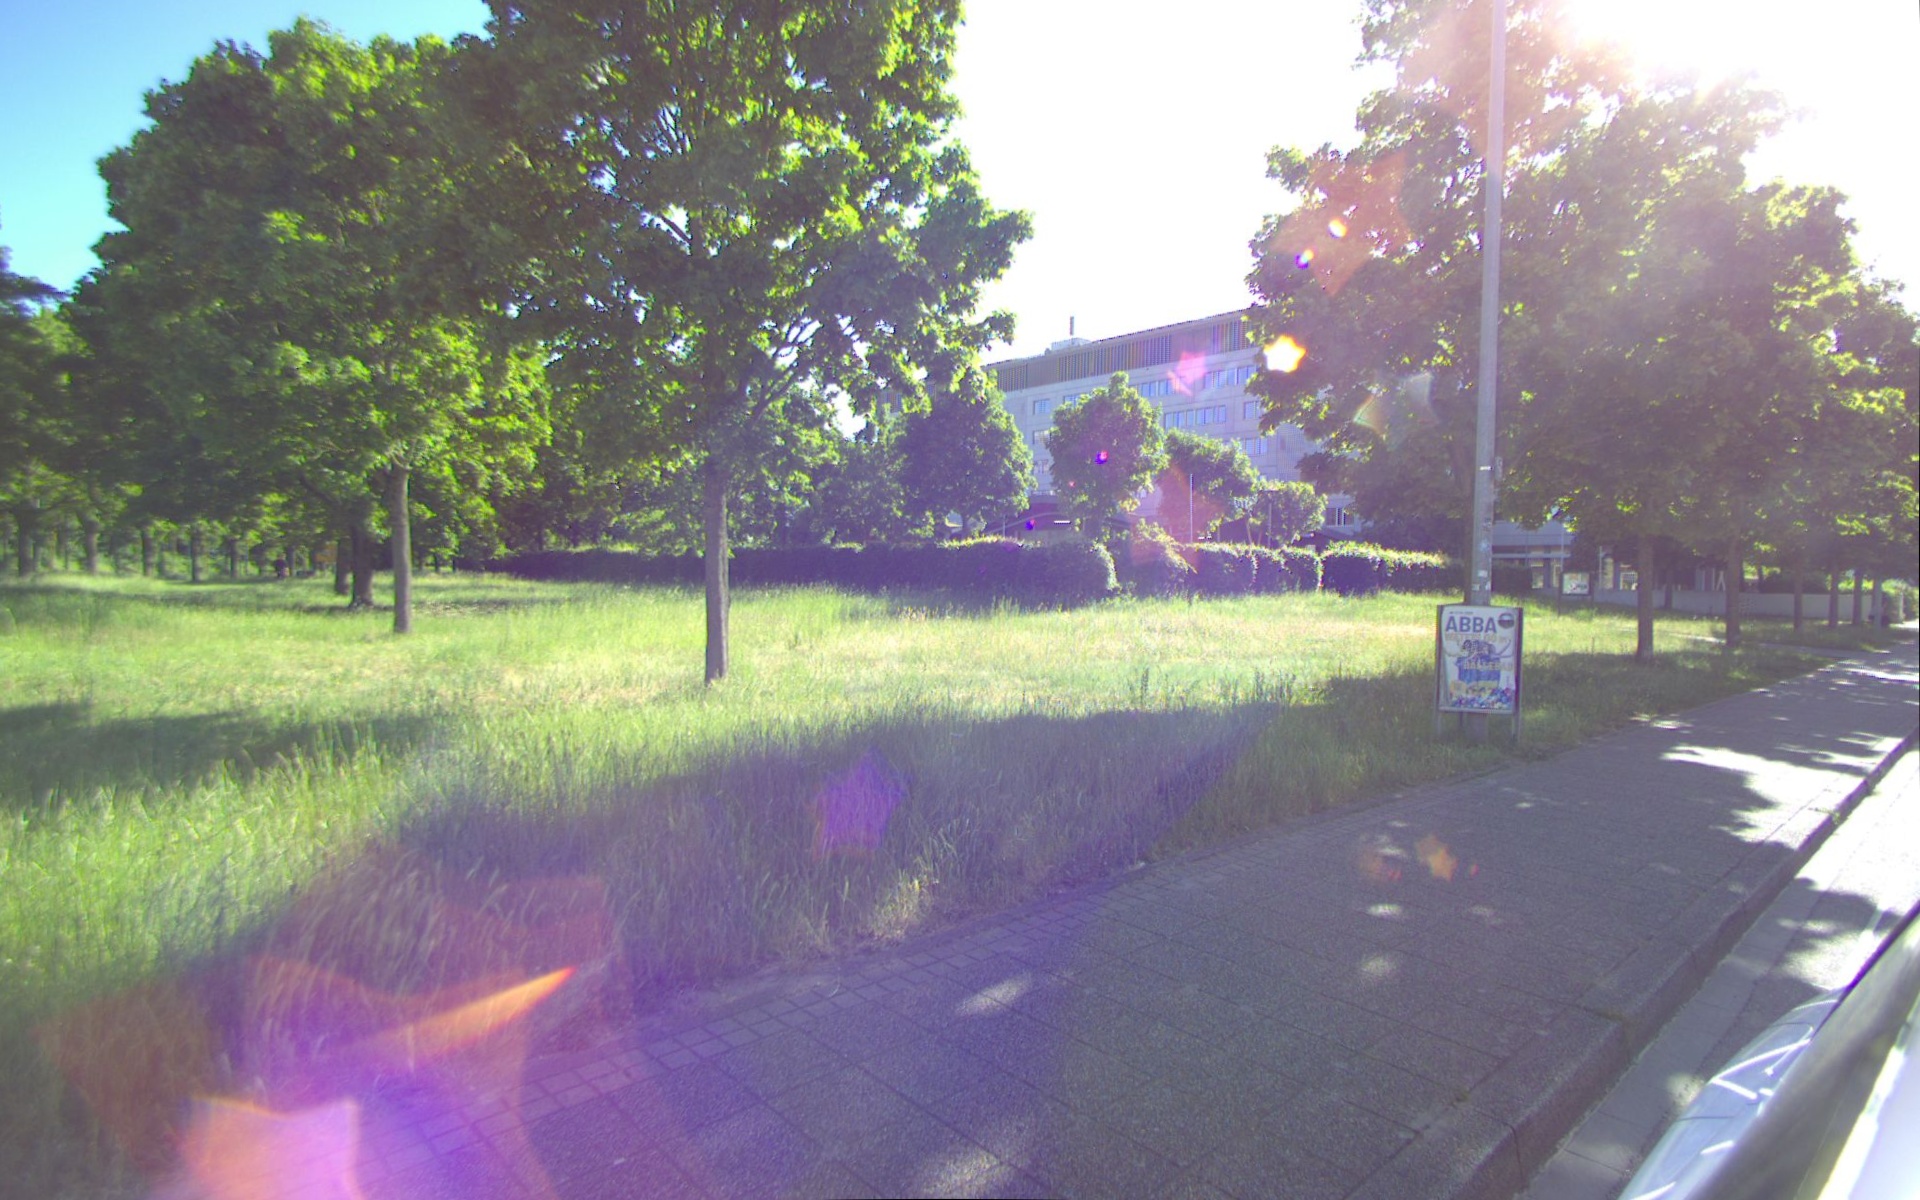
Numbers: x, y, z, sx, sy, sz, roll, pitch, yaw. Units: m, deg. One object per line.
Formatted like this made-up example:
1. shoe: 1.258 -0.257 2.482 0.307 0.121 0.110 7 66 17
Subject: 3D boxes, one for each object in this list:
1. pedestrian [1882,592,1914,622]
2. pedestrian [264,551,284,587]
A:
1. pedestrian: 39.233 0.282 42.342 0.842 1.232 0.719 3 2 36
2. pedestrian: -33.434 -1.500 49.326 0.726 1.748 0.888 1 1 -38
